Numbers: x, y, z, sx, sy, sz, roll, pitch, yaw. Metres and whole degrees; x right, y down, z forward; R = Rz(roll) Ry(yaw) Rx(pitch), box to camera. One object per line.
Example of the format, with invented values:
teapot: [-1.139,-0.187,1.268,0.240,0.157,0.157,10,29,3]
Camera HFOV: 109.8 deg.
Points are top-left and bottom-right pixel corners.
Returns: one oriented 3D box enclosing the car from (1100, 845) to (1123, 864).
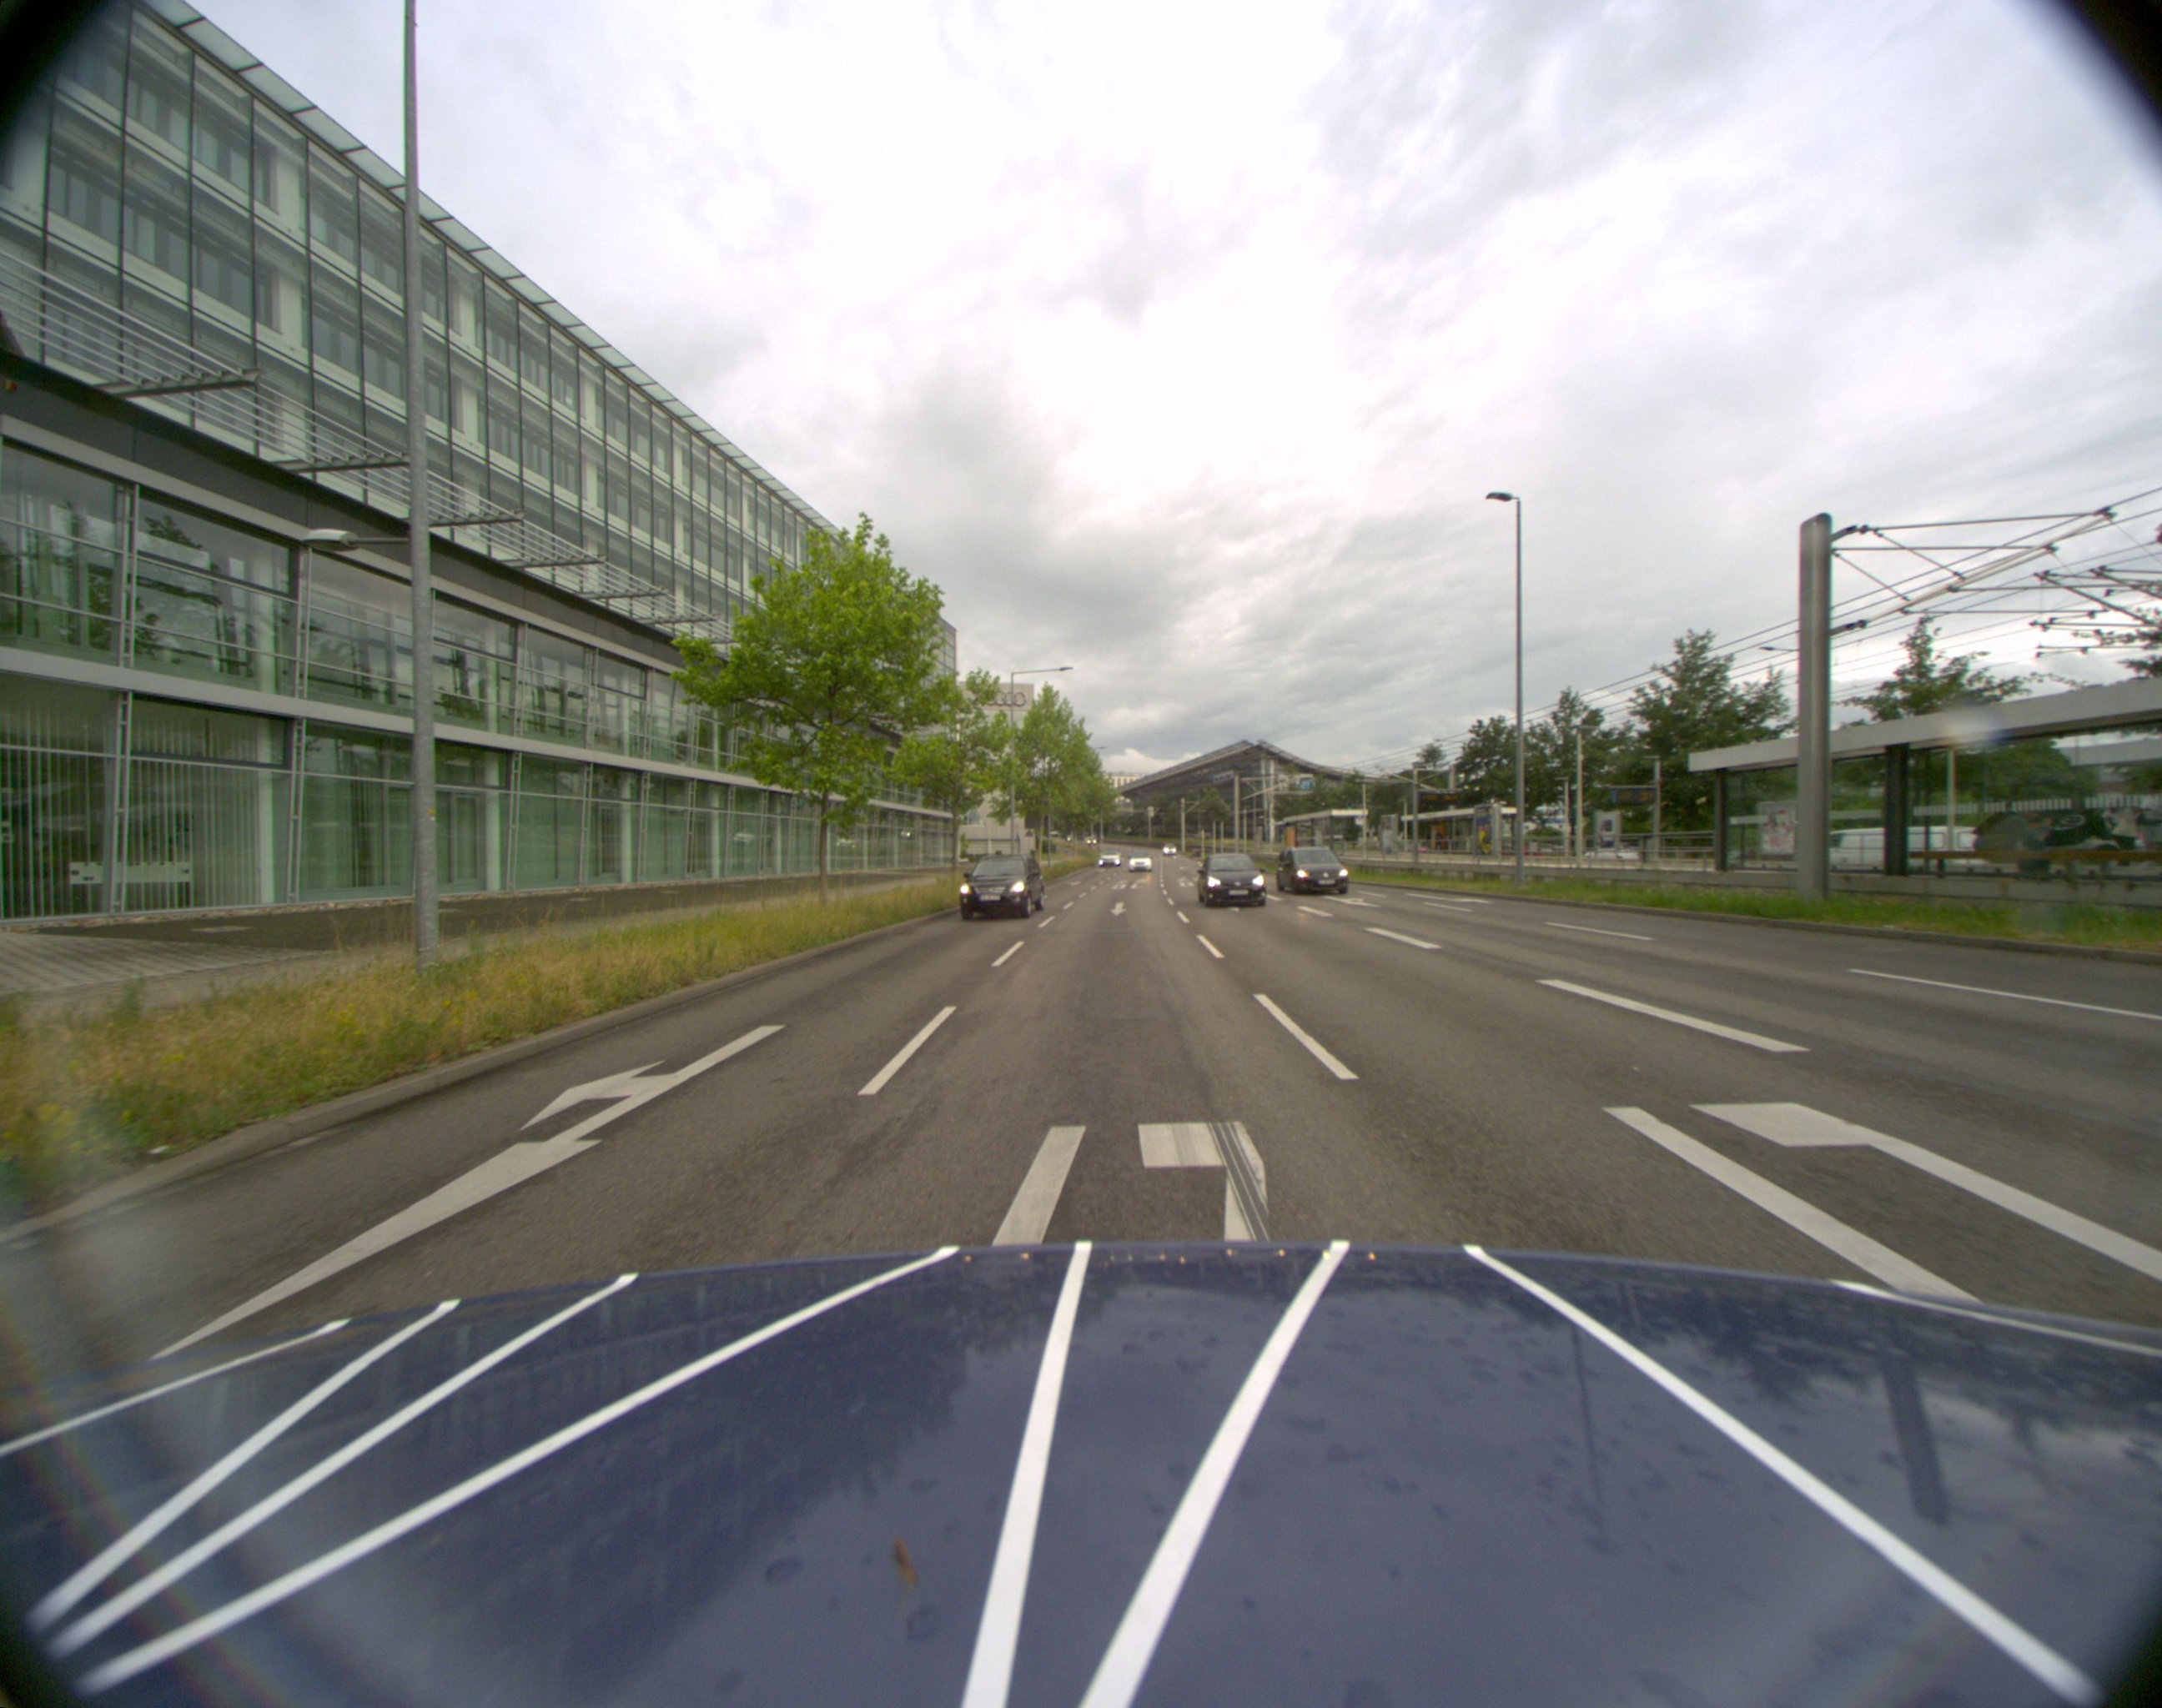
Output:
car: [2.799,0.011,70.356,1.998,1.669,3.821,-2,1,1]

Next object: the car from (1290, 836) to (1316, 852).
car: [27.213,-1.273,93.289,1.999,1.837,3.999,-3,1,-1]

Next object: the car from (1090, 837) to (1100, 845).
car: [3.032,-2.779,164.543,1.829,1.701,4.152,-3,1,-2]

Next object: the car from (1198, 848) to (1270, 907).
car: [4.439,0.728,22.506,1.696,1.513,3.908,-3,-3,6]

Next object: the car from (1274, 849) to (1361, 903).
car: [8.158,0.707,26.586,1.731,1.583,4.192,-3,1,1]

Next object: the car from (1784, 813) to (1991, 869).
car: [28.473,-0.475,27.131,1.999,1.721,5.029,-3,1,0]

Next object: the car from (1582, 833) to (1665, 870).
car: [31.695,-0.199,44.569,1.998,2.002,3.999,-3,1,1]

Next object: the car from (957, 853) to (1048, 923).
car: [-2.049,0.841,21.030,1.770,1.620,4.325,-3,1,3]

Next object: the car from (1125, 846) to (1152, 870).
car: [4.414,0.283,58.842,1.805,1.713,3.999,-3,1,1]

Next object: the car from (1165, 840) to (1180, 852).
car: [12.143,-1.054,101.211,1.739,1.469,4.001,-2,1,4]
